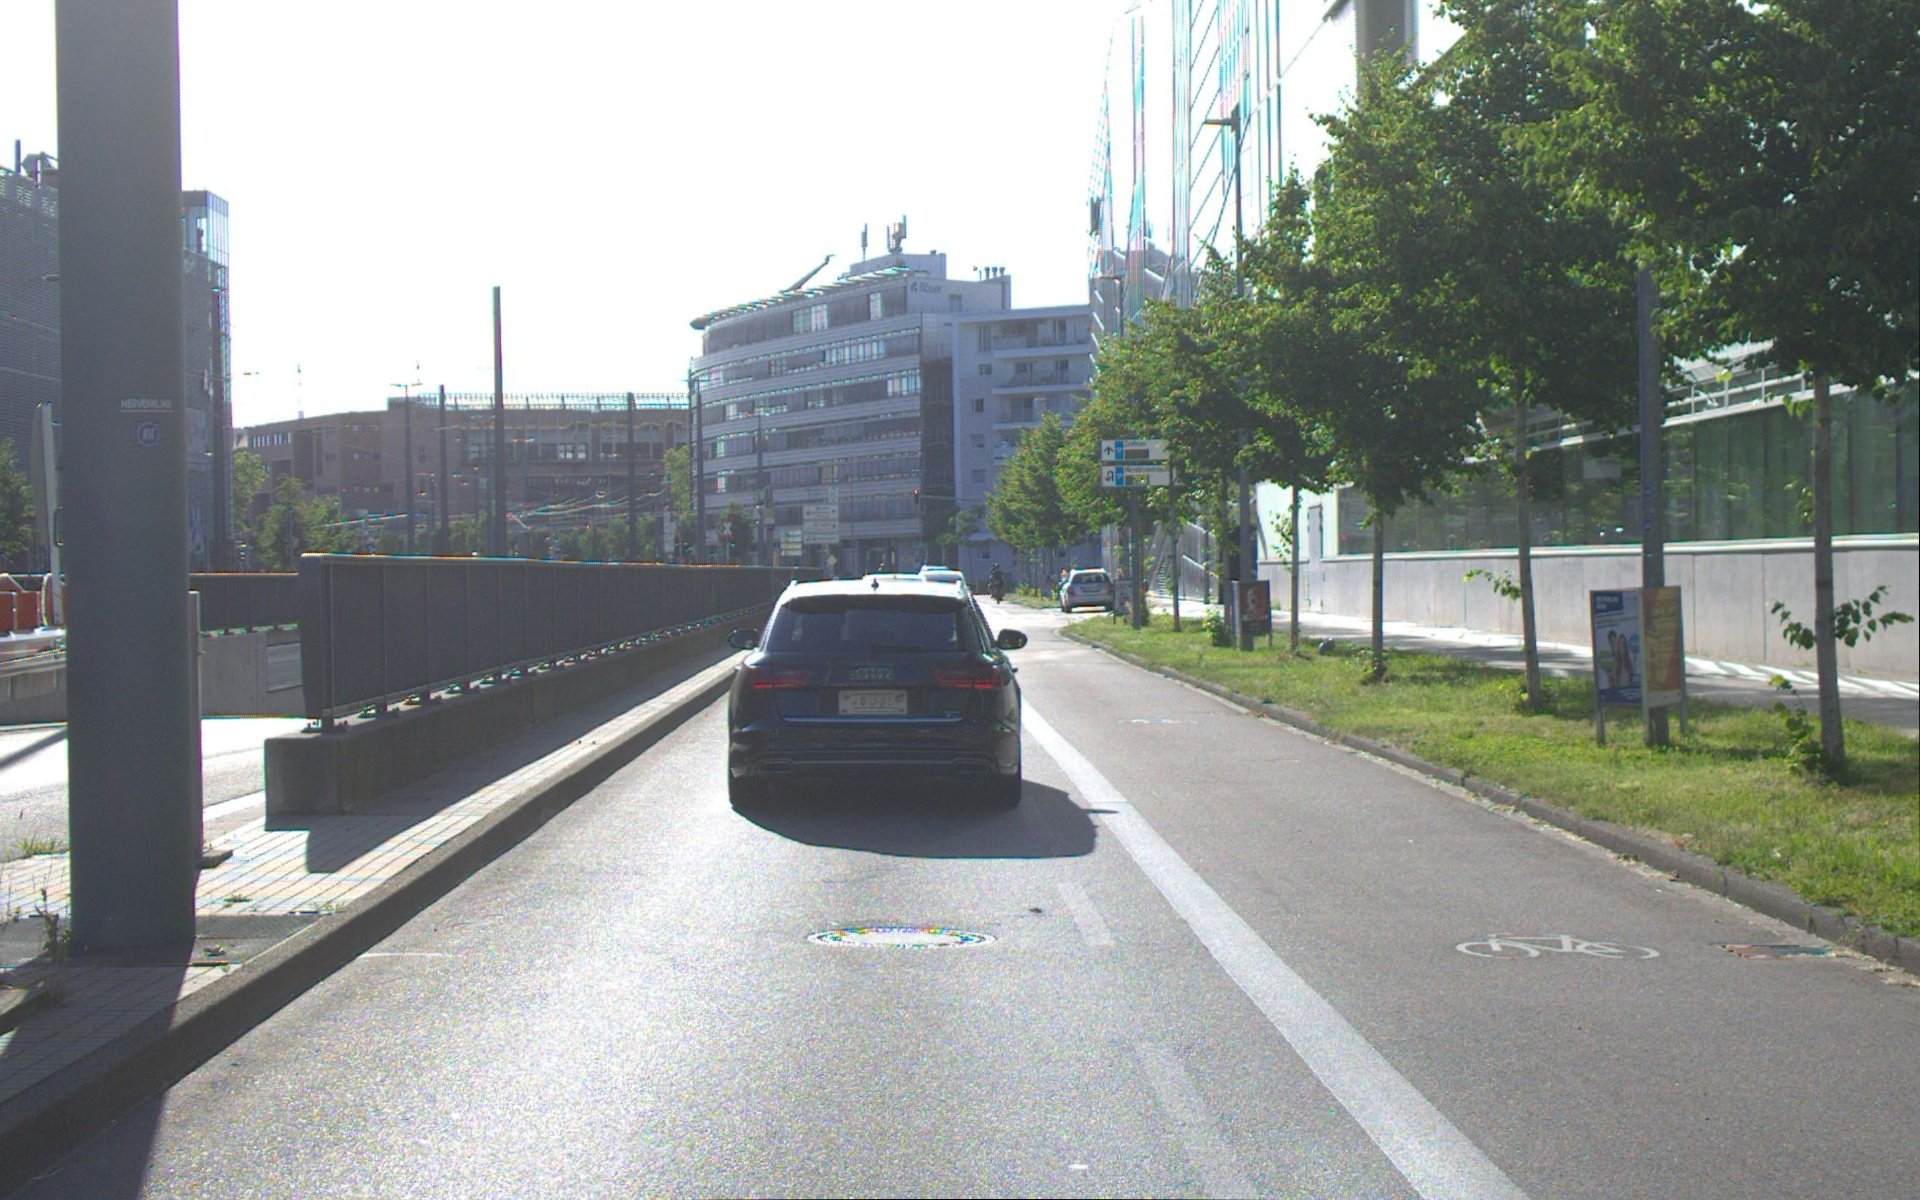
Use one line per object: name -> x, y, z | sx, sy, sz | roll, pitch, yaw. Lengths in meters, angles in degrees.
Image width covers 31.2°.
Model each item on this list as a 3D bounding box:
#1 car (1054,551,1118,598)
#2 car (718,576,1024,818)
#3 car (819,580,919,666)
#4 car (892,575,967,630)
car -> 4.344, -0.897, 118.997 | 1.852, 1.476, 4.854 | -3, 1, -2
car -> -0.587, 0.567, 22.964 | 1.812, 1.422, 4.690 | -1, 0, -1
car -> -1.733, 0.420, 66.013 | 1.852, 1.541, 4.000 | 1, 1, -1
car -> -0.903, 0.062, 98.915 | 1.993, 1.460, 4.001 | 0, 2, -3
